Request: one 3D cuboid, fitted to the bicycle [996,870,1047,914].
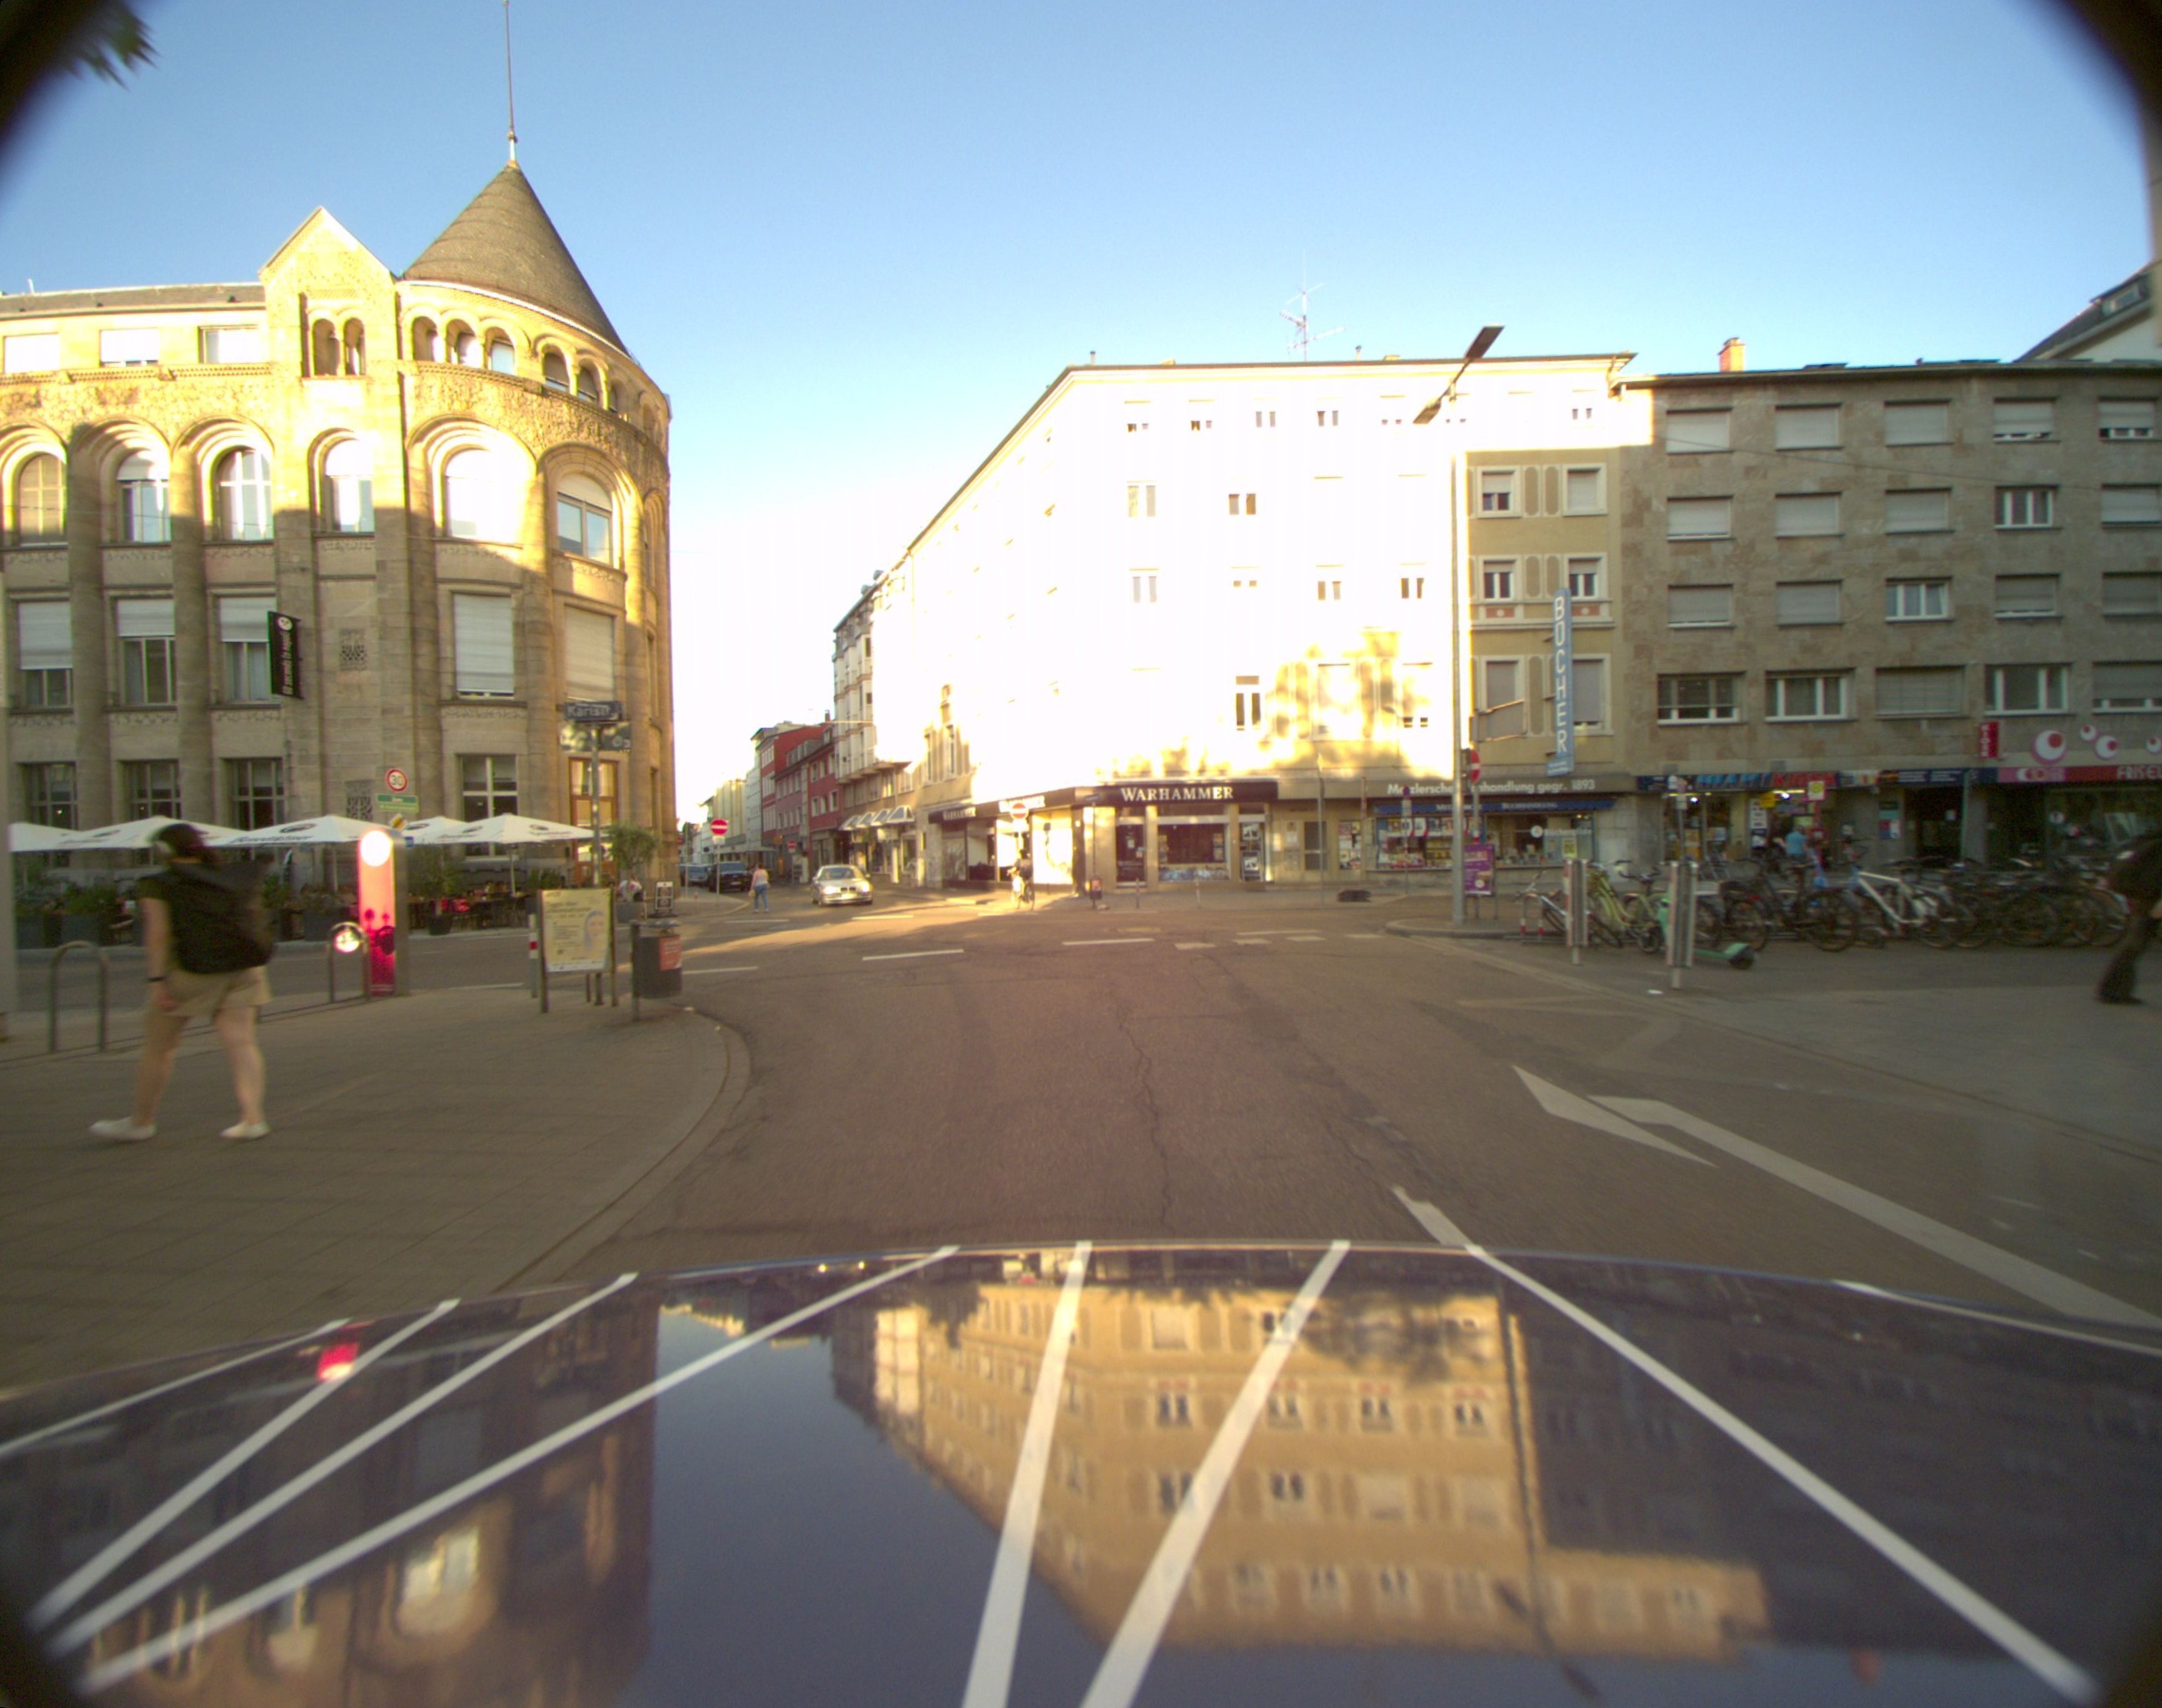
[{"bbox_3d":[-1.689,1.034,21.234,0.667,1.132,1.817,-3,1,-30],"label":"bicycle"}]

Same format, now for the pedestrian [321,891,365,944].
[{"bbox_3d":[-18.166,1.548,18.722,0.687,1.238,0.599,-2,1,-40],"label":"pedestrian"}]

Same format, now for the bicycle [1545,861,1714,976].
[{"bbox_3d":[6.918,0.748,9.734,0.582,1.248,2.043,-2,1,-3],"label":"bicycle"}]

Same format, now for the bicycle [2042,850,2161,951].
[{"bbox_3d":[13.891,0.593,9.784,0.513,1.248,1.978,-2,1,-1],"label":"bicycle"}]

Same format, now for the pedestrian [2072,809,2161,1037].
[{"bbox_3d":[8.131,0.486,5.591,0.870,1.648,0.620,-1,1,34],"label":"pedestrian"}]

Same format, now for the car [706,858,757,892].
[{"bbox_3d":[-20.261,1.186,43.906,2.003,1.773,4.922,-2,0,-32],"label":"car"}]

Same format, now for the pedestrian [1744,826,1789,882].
[{"bbox_3d":[21.290,-0.009,23.618,0.802,1.697,0.665,-1,1,0],"label":"pedestrian"}]

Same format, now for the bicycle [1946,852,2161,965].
[{"bbox_3d":[12.424,0.626,9.687,0.513,1.248,1.978,-2,1,-1],"label":"bicycle"}]

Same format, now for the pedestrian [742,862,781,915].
[{"bbox_3d":[-10.074,1.073,23.937,0.732,1.603,0.806,-1,1,30],"label":"pedestrian"}]

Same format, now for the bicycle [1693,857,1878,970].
[{"bbox_3d":[8.936,0.687,9.763,0.513,1.248,1.978,-2,1,-1],"label":"bicycle"}]

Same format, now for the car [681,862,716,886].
[{"bbox_3d":[-28.581,1.487,56.692,1.782,1.656,3.990,-2,0,-34],"label":"car"}]

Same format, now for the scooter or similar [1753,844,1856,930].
[{"bbox_3d":[11.346,0.484,11.961,0.387,1.253,1.270,-2,1,-1],"label":"scooter or similar"}]

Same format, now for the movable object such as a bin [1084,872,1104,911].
[{"bbox_3d":[0.362,1.038,20.993,0.361,1.057,0.355,-2,1,-41],"label":"movable object such as a bin"}]

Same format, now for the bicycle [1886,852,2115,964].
[{"bbox_3d":[11.659,0.626,9.758,0.513,1.248,1.978,-2,1,-1],"label":"bicycle"}]

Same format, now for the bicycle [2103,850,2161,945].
[{"bbox_3d":[14.675,0.587,9.720,0.513,1.248,1.978,-2,1,-1],"label":"bicycle"}]

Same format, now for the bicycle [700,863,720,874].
[{"bbox_3d":[-51.071,2.007,104.670,2.486,1.322,0.782,-2,2,-25],"label":"bicycle"}]

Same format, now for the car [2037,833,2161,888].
[{"bbox_3d":[28.949,0.143,20.566,3.998,1.383,1.863,-1,0,-3],"label":"car"}]

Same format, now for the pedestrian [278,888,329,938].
[{"bbox_3d":[-20.516,1.552,20.054,0.685,1.238,0.601,-2,1,4],"label":"pedestrian"}]

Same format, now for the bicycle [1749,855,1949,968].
[{"bbox_3d":[9.723,0.664,9.745,0.513,1.248,1.978,-2,1,-2],"label":"bicycle"}]

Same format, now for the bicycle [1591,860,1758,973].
[{"bbox_3d":[7.555,0.736,9.808,0.513,1.248,1.978,-2,1,-3],"label":"bicycle"}]

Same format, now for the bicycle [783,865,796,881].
[{"bbox_3d":[-22.074,1.448,57.455,0.546,1.185,1.837,-2,1,-31],"label":"bicycle"}]

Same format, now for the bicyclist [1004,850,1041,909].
[{"bbox_3d":[-1.622,0.694,21.095,0.661,1.561,0.861,-3,2,-32],"label":"bicyclist"}]

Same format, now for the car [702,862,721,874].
[{"bbox_3d":[-52.553,2.010,107.941,2.003,1.667,4.448,-2,1,-31],"label":"car"}]

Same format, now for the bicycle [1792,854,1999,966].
[{"bbox_3d":[10.370,0.650,9.798,0.513,1.248,1.978,-2,1,-1],"label":"bicycle"}]

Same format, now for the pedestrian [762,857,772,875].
[{"bbox_3d":[-27.344,1.041,66.260,0.613,1.464,0.546,-3,2,-39],"label":"pedestrian"}]

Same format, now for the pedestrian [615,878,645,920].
[{"bbox_3d":[-13.672,1.353,23.030,0.608,1.182,0.820,-2,1,-21],"label":"pedestrian"}]

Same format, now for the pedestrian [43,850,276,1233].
[{"bbox_3d":[-4.732,0.850,3.905,0.843,1.713,0.639,-1,1,35],"label":"pedestrian"}]

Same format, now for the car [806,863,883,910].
[{"bbox_3d":[-8.407,1.073,26.754,2.002,1.414,4.450,-2,0,-24],"label":"car"}]

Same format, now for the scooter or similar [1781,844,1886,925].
[{"bbox_3d":[11.928,0.454,12.082,0.387,1.205,1.270,-2,1,-1],"label":"scooter or similar"}]

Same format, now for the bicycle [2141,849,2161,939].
[{"bbox_3d":[15.282,0.566,9.773,0.513,1.248,1.978,-2,1,-1],"label":"bicycle"}]

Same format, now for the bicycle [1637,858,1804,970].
[{"bbox_3d":[8.178,0.710,9.841,0.513,1.248,1.978,-2,1,1],"label":"bicycle"}]

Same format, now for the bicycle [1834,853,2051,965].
[{"bbox_3d":[10.942,0.640,9.775,0.513,1.248,1.978,-2,1,-1],"label":"bicycle"}]

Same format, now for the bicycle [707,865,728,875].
[{"bbox_3d":[-48.076,2.117,100.568,2.486,1.172,0.782,-2,2,-25],"label":"bicycle"}]

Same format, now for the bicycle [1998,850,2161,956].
[{"bbox_3d":[13.259,0.590,9.763,0.513,1.248,1.978,-2,1,-3],"label":"bicycle"}]

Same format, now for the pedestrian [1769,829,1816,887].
[{"bbox_3d":[21.391,0.114,22.848,0.802,1.697,0.665,-1,1,0],"label":"pedestrian"}]

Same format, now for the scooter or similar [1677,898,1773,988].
[{"bbox_3d":[7.009,0.950,8.298,0.387,0.879,0.770,-2,1,-1],"label":"scooter or similar"}]

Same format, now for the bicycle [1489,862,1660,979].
[{"bbox_3d":[6.152,0.762,9.653,0.666,1.248,2.139,-2,1,-4],"label":"bicycle"}]
